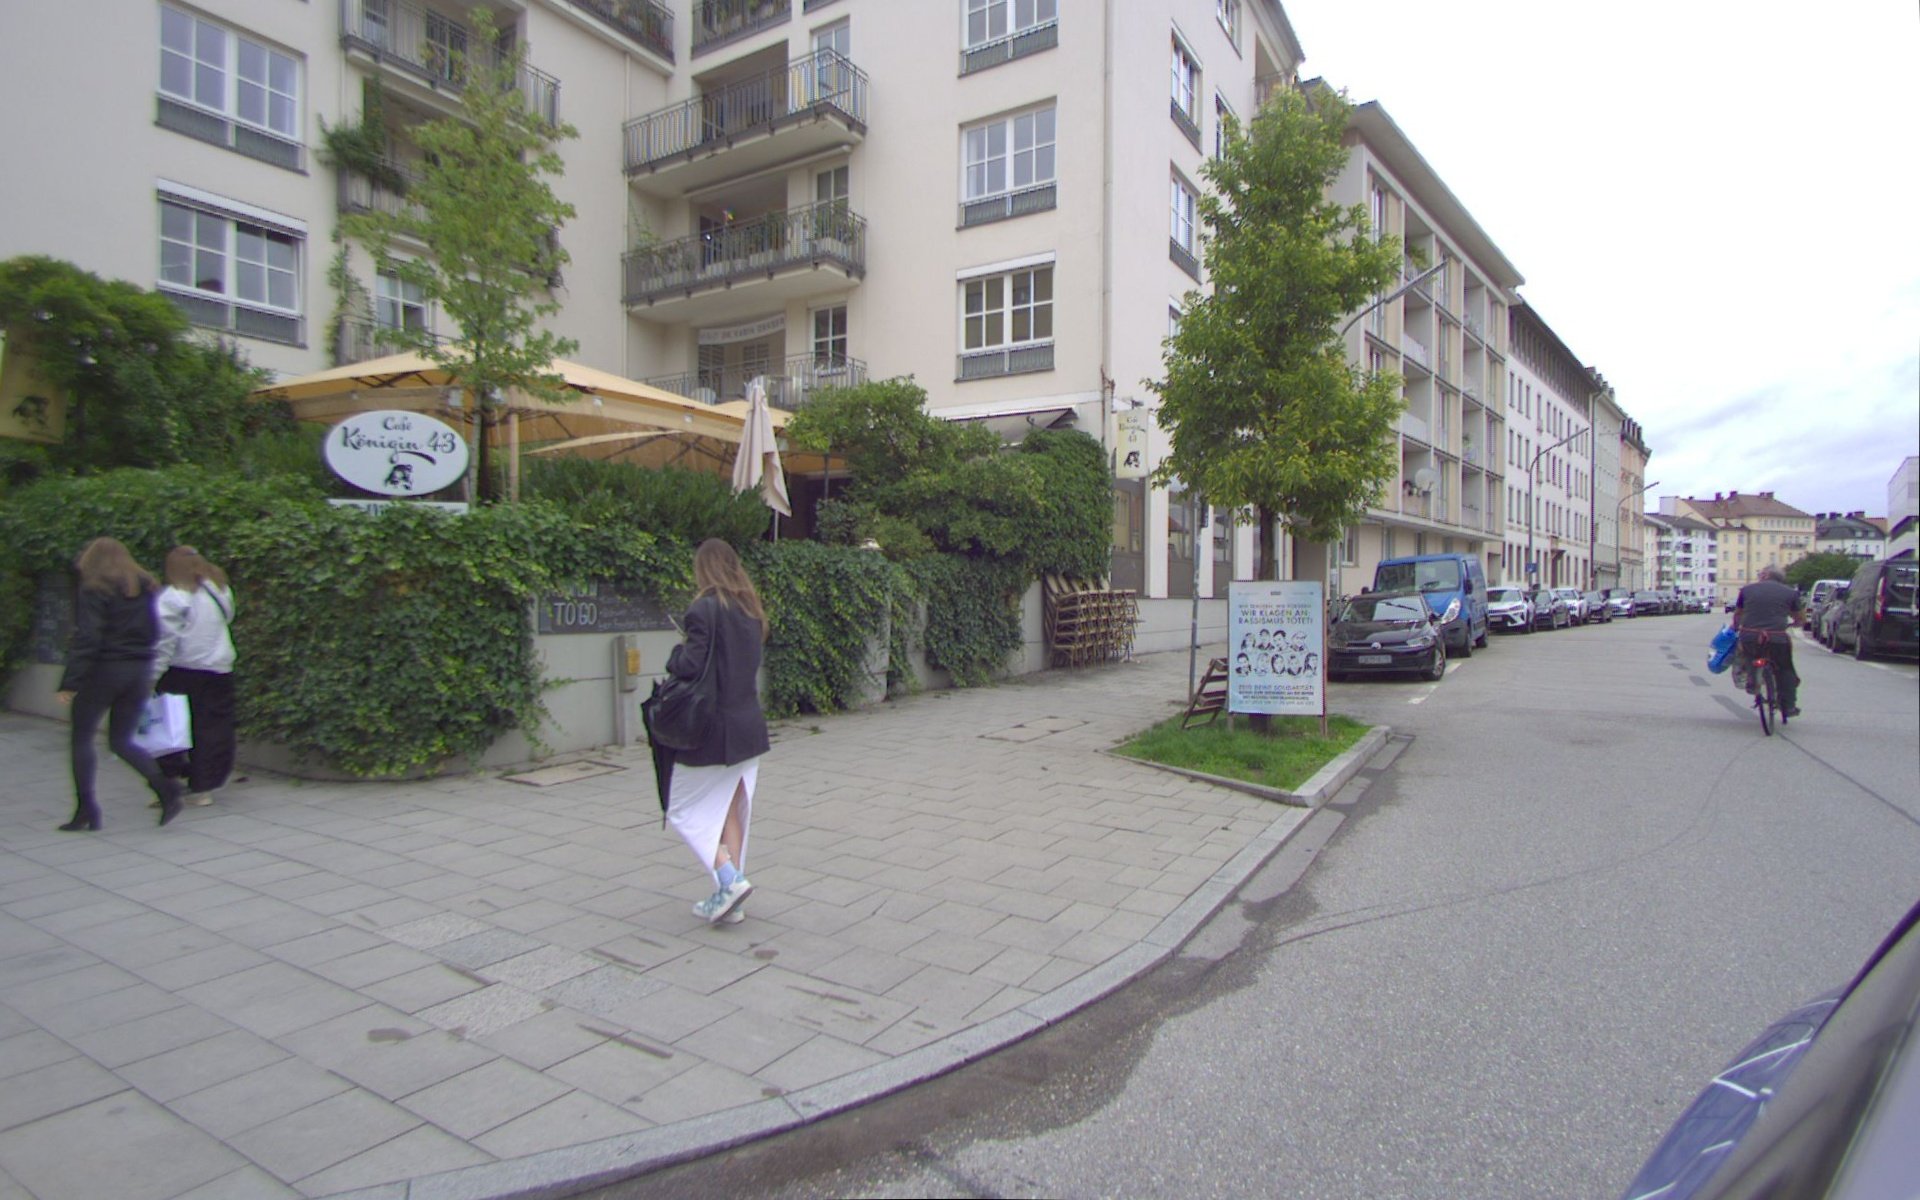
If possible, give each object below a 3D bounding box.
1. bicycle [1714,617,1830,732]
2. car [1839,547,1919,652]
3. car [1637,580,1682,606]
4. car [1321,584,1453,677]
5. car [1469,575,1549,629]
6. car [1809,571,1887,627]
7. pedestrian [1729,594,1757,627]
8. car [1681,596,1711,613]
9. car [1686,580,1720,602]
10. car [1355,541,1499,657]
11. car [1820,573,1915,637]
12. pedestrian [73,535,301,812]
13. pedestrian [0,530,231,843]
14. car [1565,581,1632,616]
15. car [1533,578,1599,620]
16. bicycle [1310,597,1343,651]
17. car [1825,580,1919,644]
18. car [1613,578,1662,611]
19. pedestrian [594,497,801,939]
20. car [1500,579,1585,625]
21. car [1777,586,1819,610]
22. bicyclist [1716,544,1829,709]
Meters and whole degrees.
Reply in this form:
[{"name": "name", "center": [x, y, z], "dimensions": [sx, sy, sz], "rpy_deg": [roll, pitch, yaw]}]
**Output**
[{"name": "bicycle", "center": [8.550, 0.725, 10.716], "dimensions": [0.874, 1.032, 2.161], "rpy_deg": [1, 1, 38]}, {"name": "car", "center": [20.001, 0.022, 21.057], "dimensions": [1.919, 2.003, 4.566], "rpy_deg": [4, 2, 34]}, {"name": "car", "center": [40.814, -0.391, 58.999], "dimensions": [1.869, 1.466, 4.634], "rpy_deg": [-1, -1, 38]}, {"name": "car", "center": [7.507, 0.472, 17.581], "dimensions": [1.704, 1.412, 3.961], "rpy_deg": [-3, -1, 28]}, {"name": "car", "center": [17.478, 0.078, 32.135], "dimensions": [1.768, 1.542, 4.251], "rpy_deg": [-4, -3, 34]}, {"name": "car", "center": [32.941, -0.053, 37.657], "dimensions": [1.892, 1.820, 4.810], "rpy_deg": [7, 4, 39]}, {"name": "pedestrian", "center": [72.524, 0.941, 93.746], "dimensions": [1.923, 2.987, 1.995], "rpy_deg": [2, 1, 40]}, {"name": "car", "center": [69.238, 0.434, 95.193], "dimensions": [1.993, 1.592, 4.426], "rpy_deg": [-2, -1, 40]}, {"name": "car", "center": [56.390, -0.677, 76.774], "dimensions": [1.761, 1.560, 3.941], "rpy_deg": [-3, -2, 40]}, {"name": "car", "center": [10.690, -0.085, 22.929], "dimensions": [2.100, 2.241, 4.970], "rpy_deg": [-5, 0, 33]}, {"name": "car", "center": [26.307, 0.115, 29.450], "dimensions": [1.700, 1.626, 4.428], "rpy_deg": [5, 3, 38]}, {"name": "pedestrian", "center": [-4.838, 0.421, 6.396], "dimensions": [0.815, 1.626, 0.809], "rpy_deg": [1, 2, 4]}, {"name": "pedestrian", "center": [-4.776, 0.443, 5.725], "dimensions": [0.815, 1.648, 0.679], "rpy_deg": [1, 2, 6]}, {"name": "car", "center": [27.472, -0.040, 43.511], "dimensions": [1.824, 1.399, 4.425], "rpy_deg": [-2, -1, 40]}, {"name": "car", "center": [23.978, -0.036, 39.969], "dimensions": [1.697, 1.487, 4.064], "rpy_deg": [-4, -2, 38]}, {"name": "bicycle", "center": [7.828, 0.488, 21.582], "dimensions": [0.560, 1.083, 1.773], "rpy_deg": [1, 1, 23]}, {"name": "car", "center": [23.123, 0.295, 25.489], "dimensions": [1.704, 1.382, 3.947], "rpy_deg": [6, 4, 37]}, {"name": "car", "center": [34.641, -0.256, 51.720], "dimensions": [1.612, 1.536, 3.330], "rpy_deg": [-4, -3, 41]}, {"name": "pedestrian", "center": [-1.106, 0.448, 4.338], "dimensions": [0.537, 1.718, 0.662], "rpy_deg": [2, 1, 20]}, {"name": "car", "center": [20.776, 0.053, 35.983], "dimensions": [1.769, 1.448, 4.625], "rpy_deg": [-5, -3, 40]}, {"name": "car", "center": [94.342, -0.264, 114.022], "dimensions": [2.829, 2.583, 6.810], "rpy_deg": [2, 1, 34]}, {"name": "bicyclist", "center": [8.543, 0.253, 10.688], "dimensions": [0.873, 1.629, 1.035], "rpy_deg": [1, 0, 37]}]
